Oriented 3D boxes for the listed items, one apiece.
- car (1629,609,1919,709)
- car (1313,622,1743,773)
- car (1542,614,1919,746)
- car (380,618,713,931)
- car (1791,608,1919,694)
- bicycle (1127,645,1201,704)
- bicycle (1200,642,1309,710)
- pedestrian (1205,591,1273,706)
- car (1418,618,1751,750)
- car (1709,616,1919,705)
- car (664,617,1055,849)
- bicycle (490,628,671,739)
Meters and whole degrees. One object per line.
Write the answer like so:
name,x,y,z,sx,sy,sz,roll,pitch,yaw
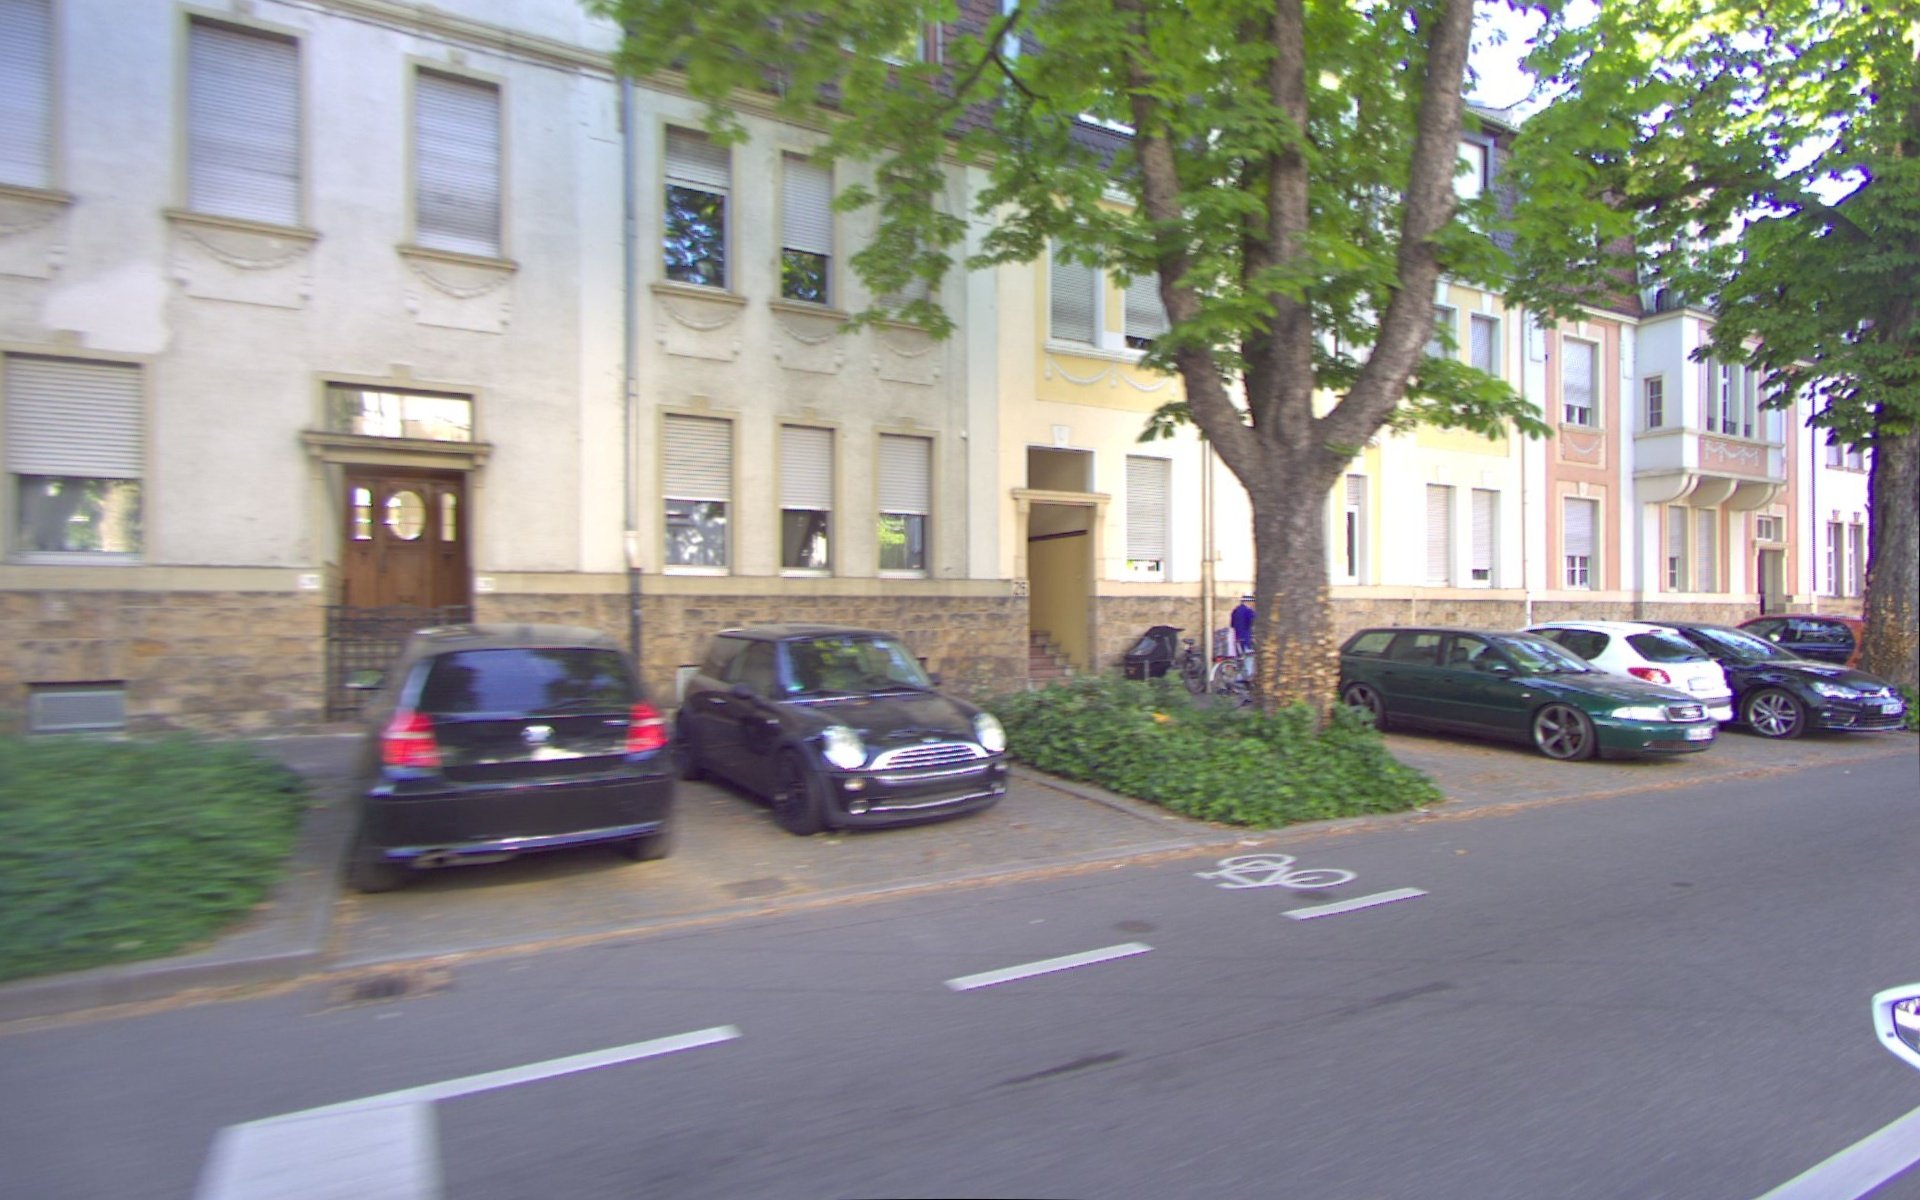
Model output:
car,14.252,0.970,17.545,1.700,1.527,3.973,1,-2,-27
car,6.412,1.001,11.881,1.682,1.367,4.194,2,-1,-28
car,10.590,0.975,14.004,1.762,1.502,3.973,1,0,-27
car,-2.982,0.901,6.914,1.595,1.495,3.867,1,-2,-28
car,18.752,0.978,19.251,1.839,1.587,3.973,1,0,-27
bicycle,3.122,1.126,15.404,0.956,0.827,0.570,1,2,-30
bicycle,4.275,1.084,14.560,1.573,0.924,0.471,1,-1,-22
pedestrian,4.173,0.716,15.038,0.881,1.680,0.459,1,-1,-21
car,8.174,1.013,13.457,1.681,1.471,3.422,2,-1,-26
car,16.454,1.058,18.433,1.806,1.422,3.972,1,0,-27
car,-1.053,0.863,8.306,1.598,1.434,3.858,1,-1,-34
bicycle,-4.469,0.948,11.880,1.958,1.170,0.511,0,2,-29
